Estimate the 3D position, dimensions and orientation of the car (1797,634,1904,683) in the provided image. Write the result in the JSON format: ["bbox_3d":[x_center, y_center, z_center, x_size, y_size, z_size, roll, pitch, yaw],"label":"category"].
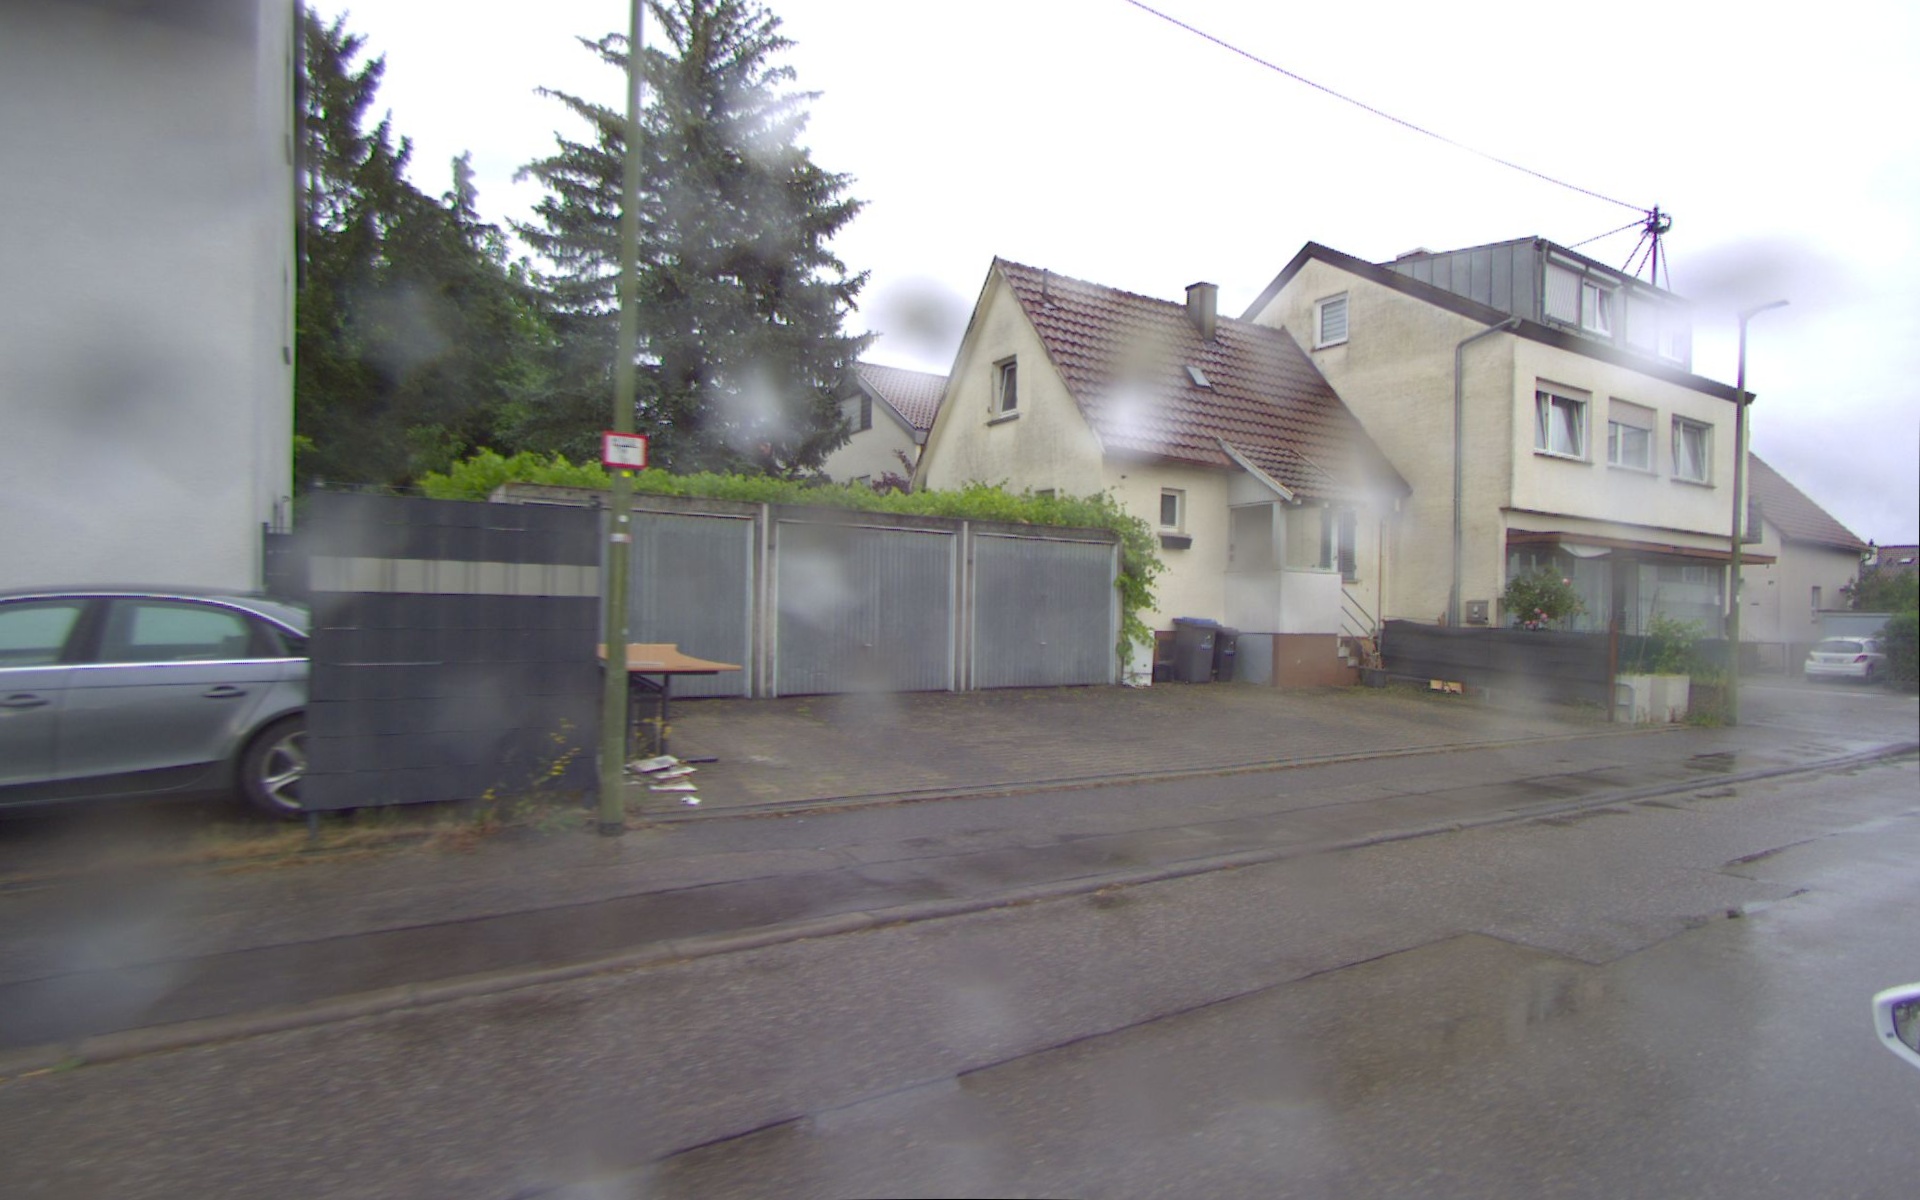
[{"bbox_3d":[30.721,1.974,34.636,3.956,1.528,1.784,1,0,-33],"label":"car"}]

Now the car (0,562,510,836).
[{"bbox_3d":[-5.377,0.499,6.137,4.526,1.387,1.813,1,3,-37],"label":"car"}]
